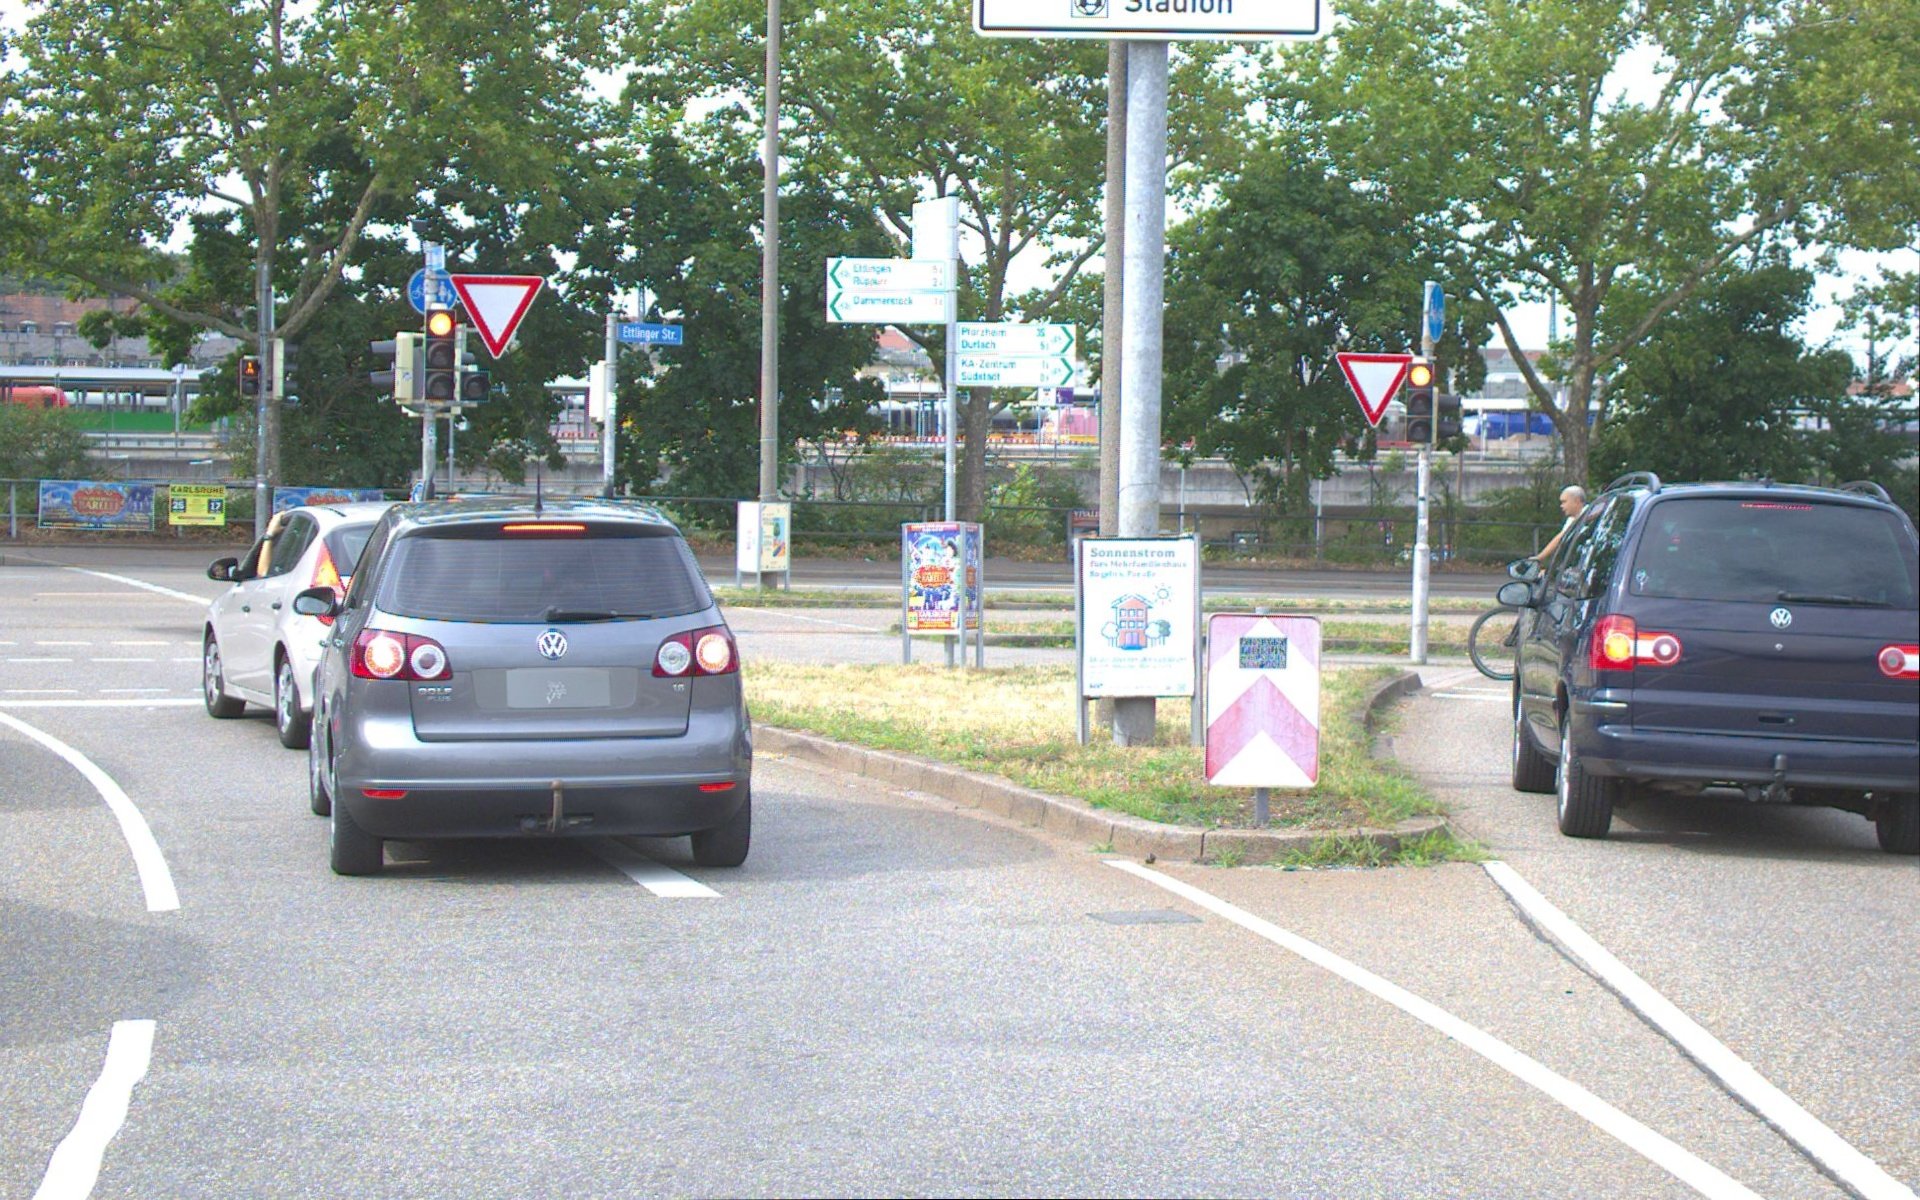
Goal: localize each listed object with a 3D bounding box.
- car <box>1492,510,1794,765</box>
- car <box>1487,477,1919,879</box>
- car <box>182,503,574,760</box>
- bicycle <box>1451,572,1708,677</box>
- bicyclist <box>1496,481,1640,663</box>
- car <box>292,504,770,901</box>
[{"bbox_3d":[4.738,0.203,24.336,1.691,1.580,4.155,3,1,6],"label":"car"},{"bbox_3d":[3.742,0.308,17.362,1.750,1.719,4.137,3,1,4],"label":"car"},{"bbox_3d":[-3.838,0.124,22.128,1.740,1.477,4.083,0,2,-21],"label":"car"},{"bbox_3d":[5.820,0.225,32.371,2.227,0.949,0.812,0,2,-9],"label":"bicycle"},{"bbox_3d":[5.714,-0.273,32.345,1.112,1.690,0.813,0,2,-9],"label":"bicyclist"},{"bbox_3d":[-2.068,0.343,15.570,1.740,1.541,4.083,0,2,-13],"label":"car"}]
